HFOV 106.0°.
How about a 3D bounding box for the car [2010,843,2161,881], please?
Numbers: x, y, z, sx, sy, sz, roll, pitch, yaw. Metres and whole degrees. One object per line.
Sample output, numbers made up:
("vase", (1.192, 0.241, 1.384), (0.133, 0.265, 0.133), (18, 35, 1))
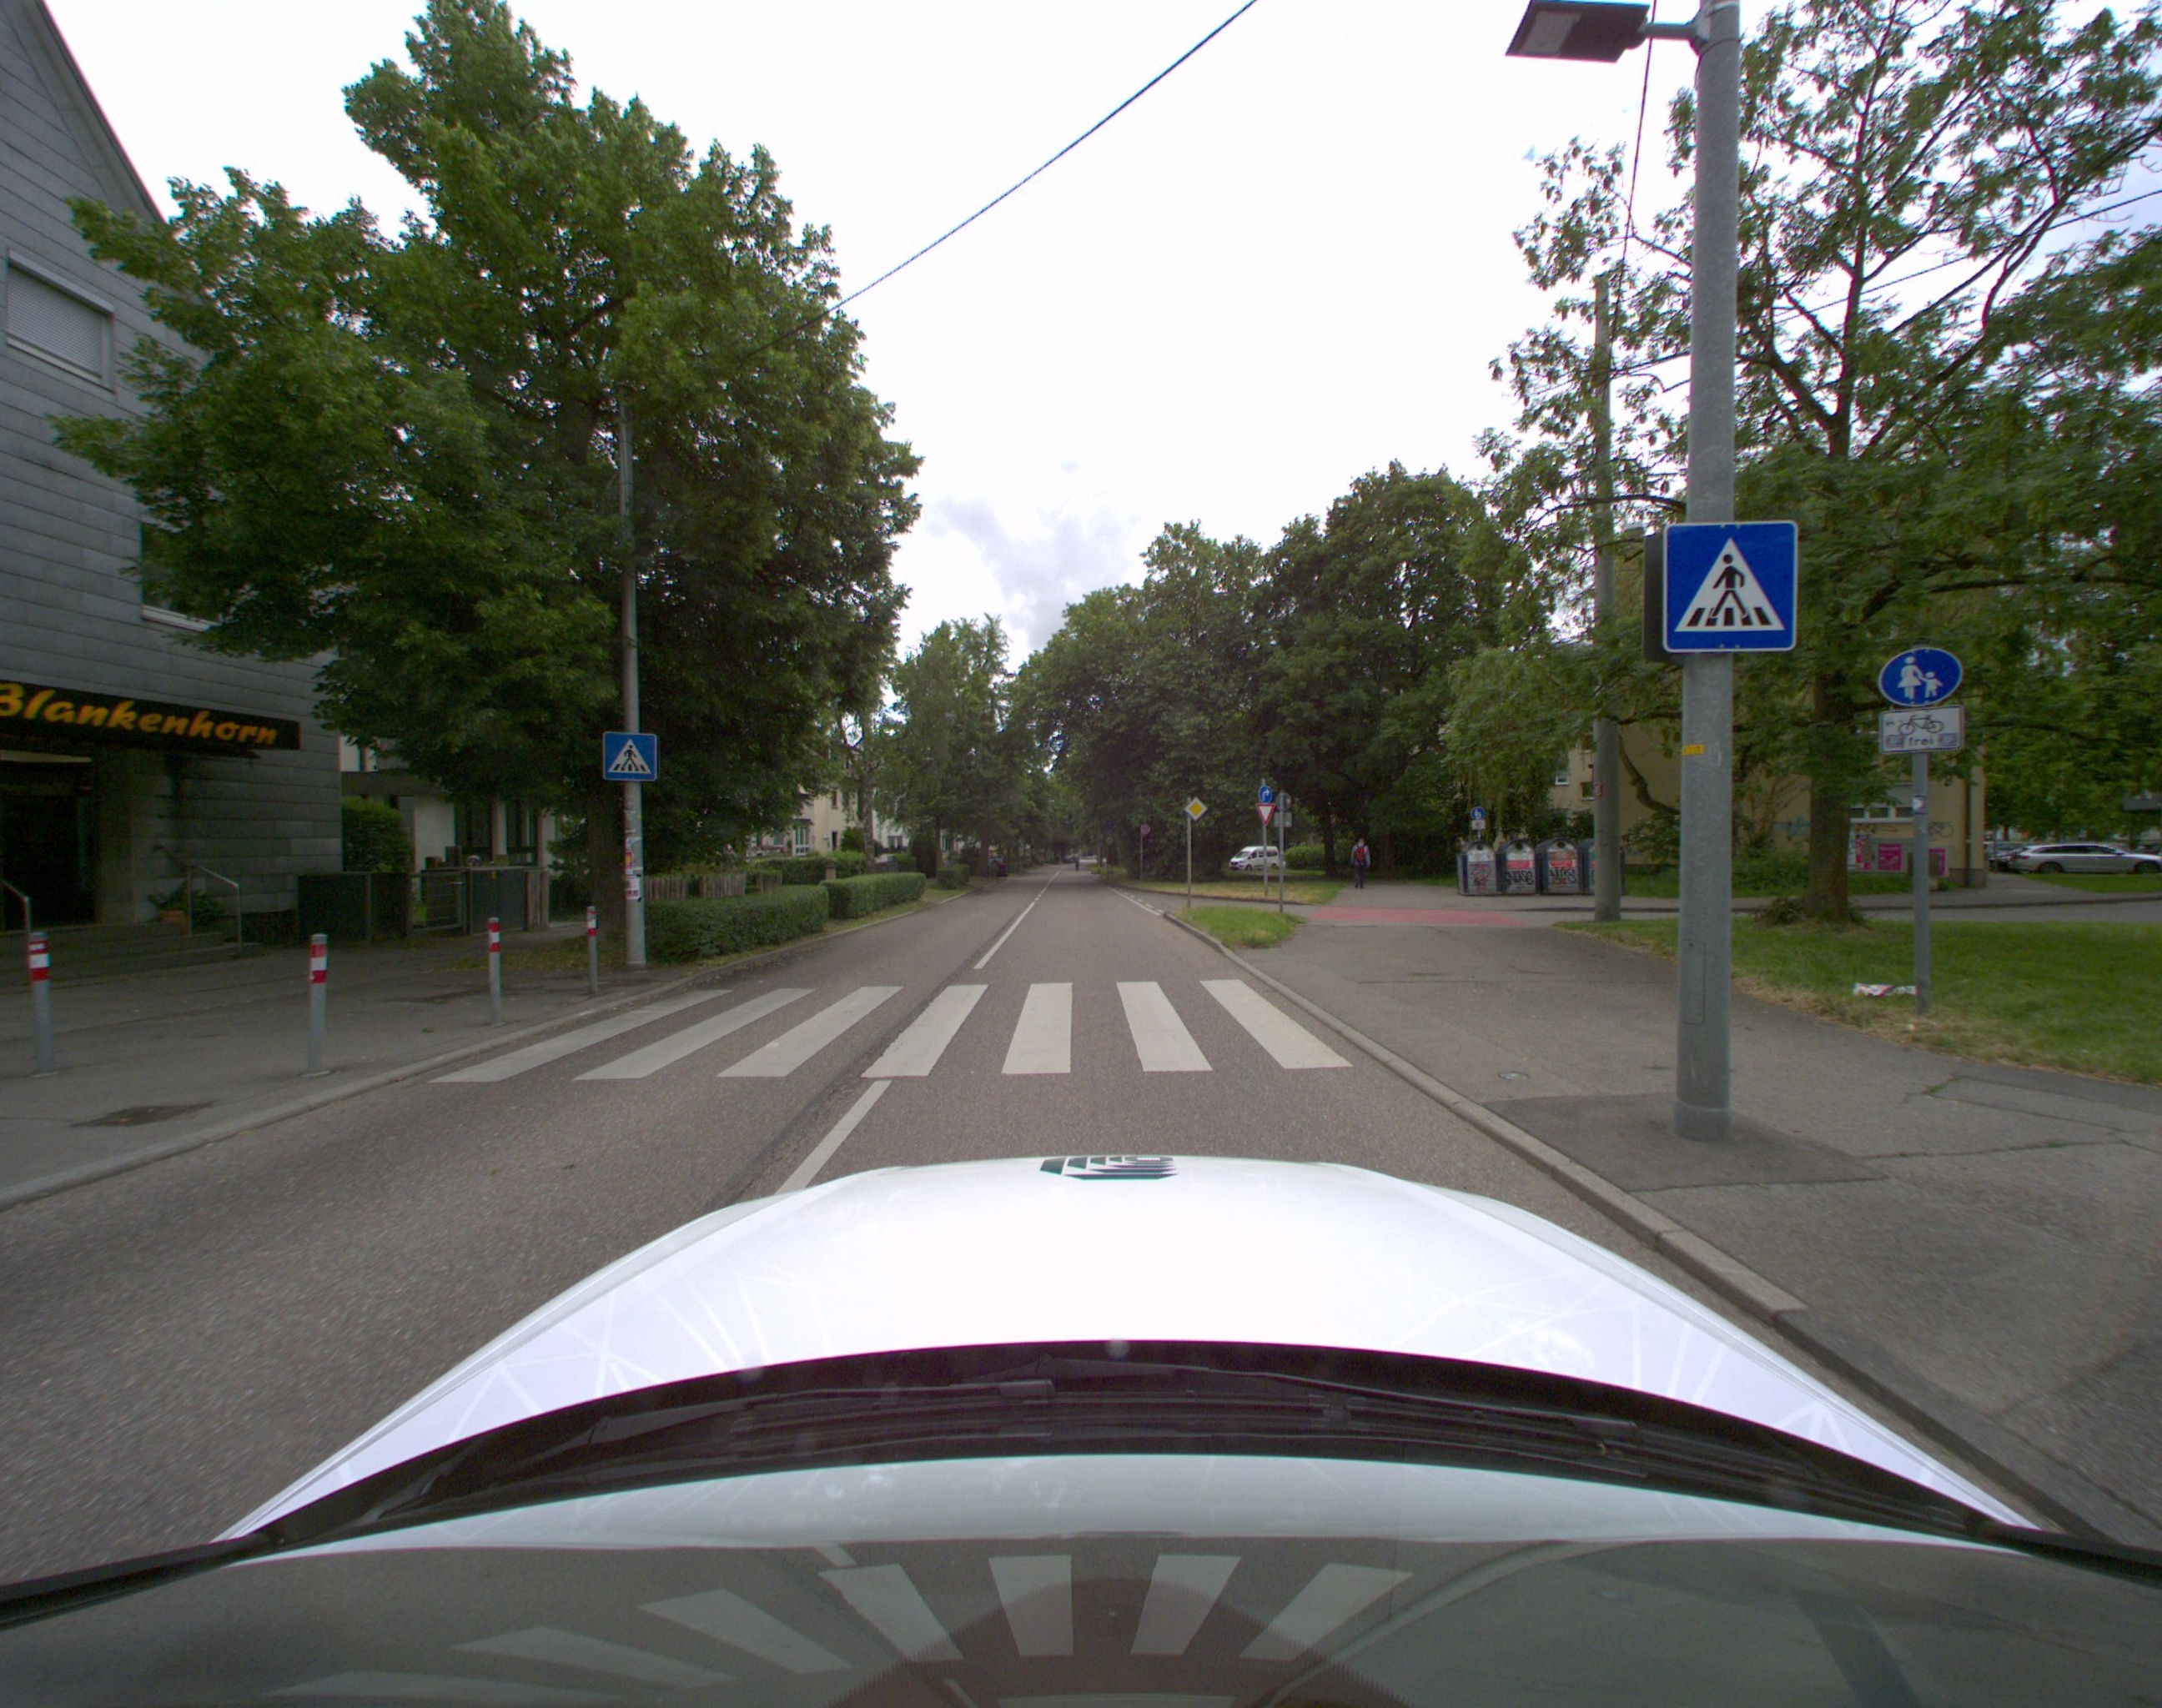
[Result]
("car", (44.567, 0.374, 36.173), (4.155, 1.576, 1.828), (-2, -1, 43))

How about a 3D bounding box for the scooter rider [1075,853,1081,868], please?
("scooter rider", (-0.339, 0.689, 84.621), (0.598, 1.552, 0.566), (-1, 2, 1))

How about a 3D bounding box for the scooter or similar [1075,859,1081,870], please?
("scooter or similar", (-0.333, 1.104, 84.479), (0.598, 1.054, 0.873), (-1, 2, 2))

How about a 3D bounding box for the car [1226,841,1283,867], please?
("car", (16.352, 0.032, 76.590), (5.409, 2.296, 2.115), (1, 3, -36))

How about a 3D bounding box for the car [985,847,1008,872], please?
("car", (-6.753, 0.414, 65.473), (1.640, 1.724, 3.795), (2, 2, -5))

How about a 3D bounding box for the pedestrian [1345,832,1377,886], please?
("pedestrian", (10.256, 0.171, 29.885), (0.917, 1.871, 1.023), (-4, 3, 12))

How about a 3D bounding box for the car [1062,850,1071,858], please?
("car", (-3.121, -0.060, 173.070), (1.829, 1.498, 3.655), (2, 3, -1))
